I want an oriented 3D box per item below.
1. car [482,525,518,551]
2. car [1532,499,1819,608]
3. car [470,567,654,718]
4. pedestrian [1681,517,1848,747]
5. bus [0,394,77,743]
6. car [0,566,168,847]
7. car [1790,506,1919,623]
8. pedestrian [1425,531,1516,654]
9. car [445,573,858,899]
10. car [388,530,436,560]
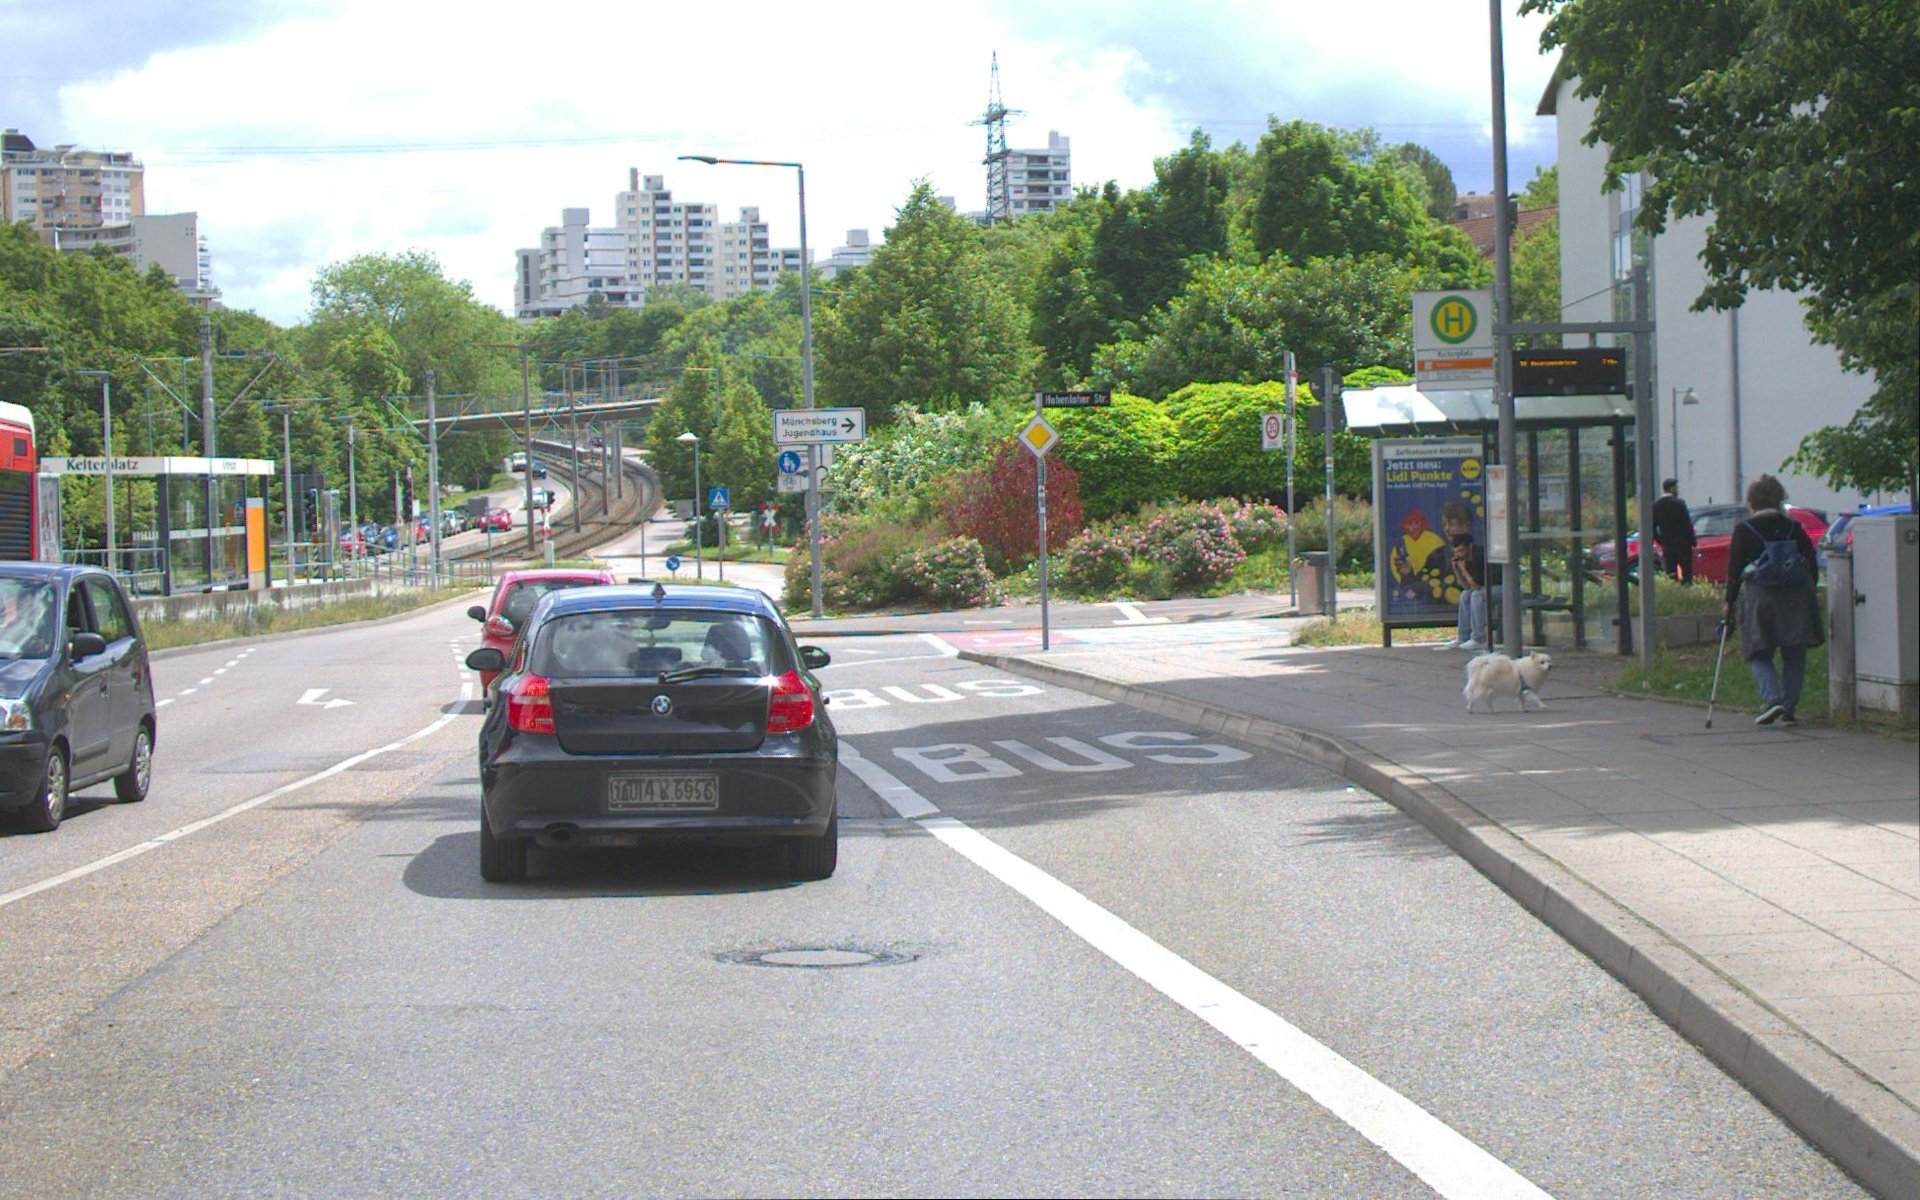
[{"bbox_3d":[-27.875,-3.788,208.569,1.719,1.497,2.967,-1,2,1],"label":"car"},{"bbox_3d":[11.686,-0.777,56.316,4.155,1.556,2.001,-2,3,-6],"label":"car"},{"bbox_3d":[-4.146,0.406,36.021,1.765,1.427,3.479,-2,1,-6],"label":"car"},{"bbox_3d":[5.135,0.200,21.985,0.819,1.420,0.830,-2,0,-1],"label":"pedestrian"},{"bbox_3d":[-9.753,-0.231,28.223,2.726,3.059,8.964,-1,1,-1],"label":"bus"},{"bbox_3d":[-5.935,0.571,20.822,1.529,1.546,3.733,0,1,-2],"label":"car"},{"bbox_3d":[13.593,-0.562,47.278,3.793,1.451,1.897,-3,2,-3],"label":"car"},{"bbox_3d":[5.373,-0.085,36.217,0.827,1.254,0.686,-2,1,2],"label":"pedestrian"},{"bbox_3d":[-1.467,0.609,17.688,1.815,1.416,4.000,-2,0,-2],"label":"car"},{"bbox_3d":[-30.465,-3.089,191.313,1.912,1.555,4.000,-1,2,1],"label":"car"}]
